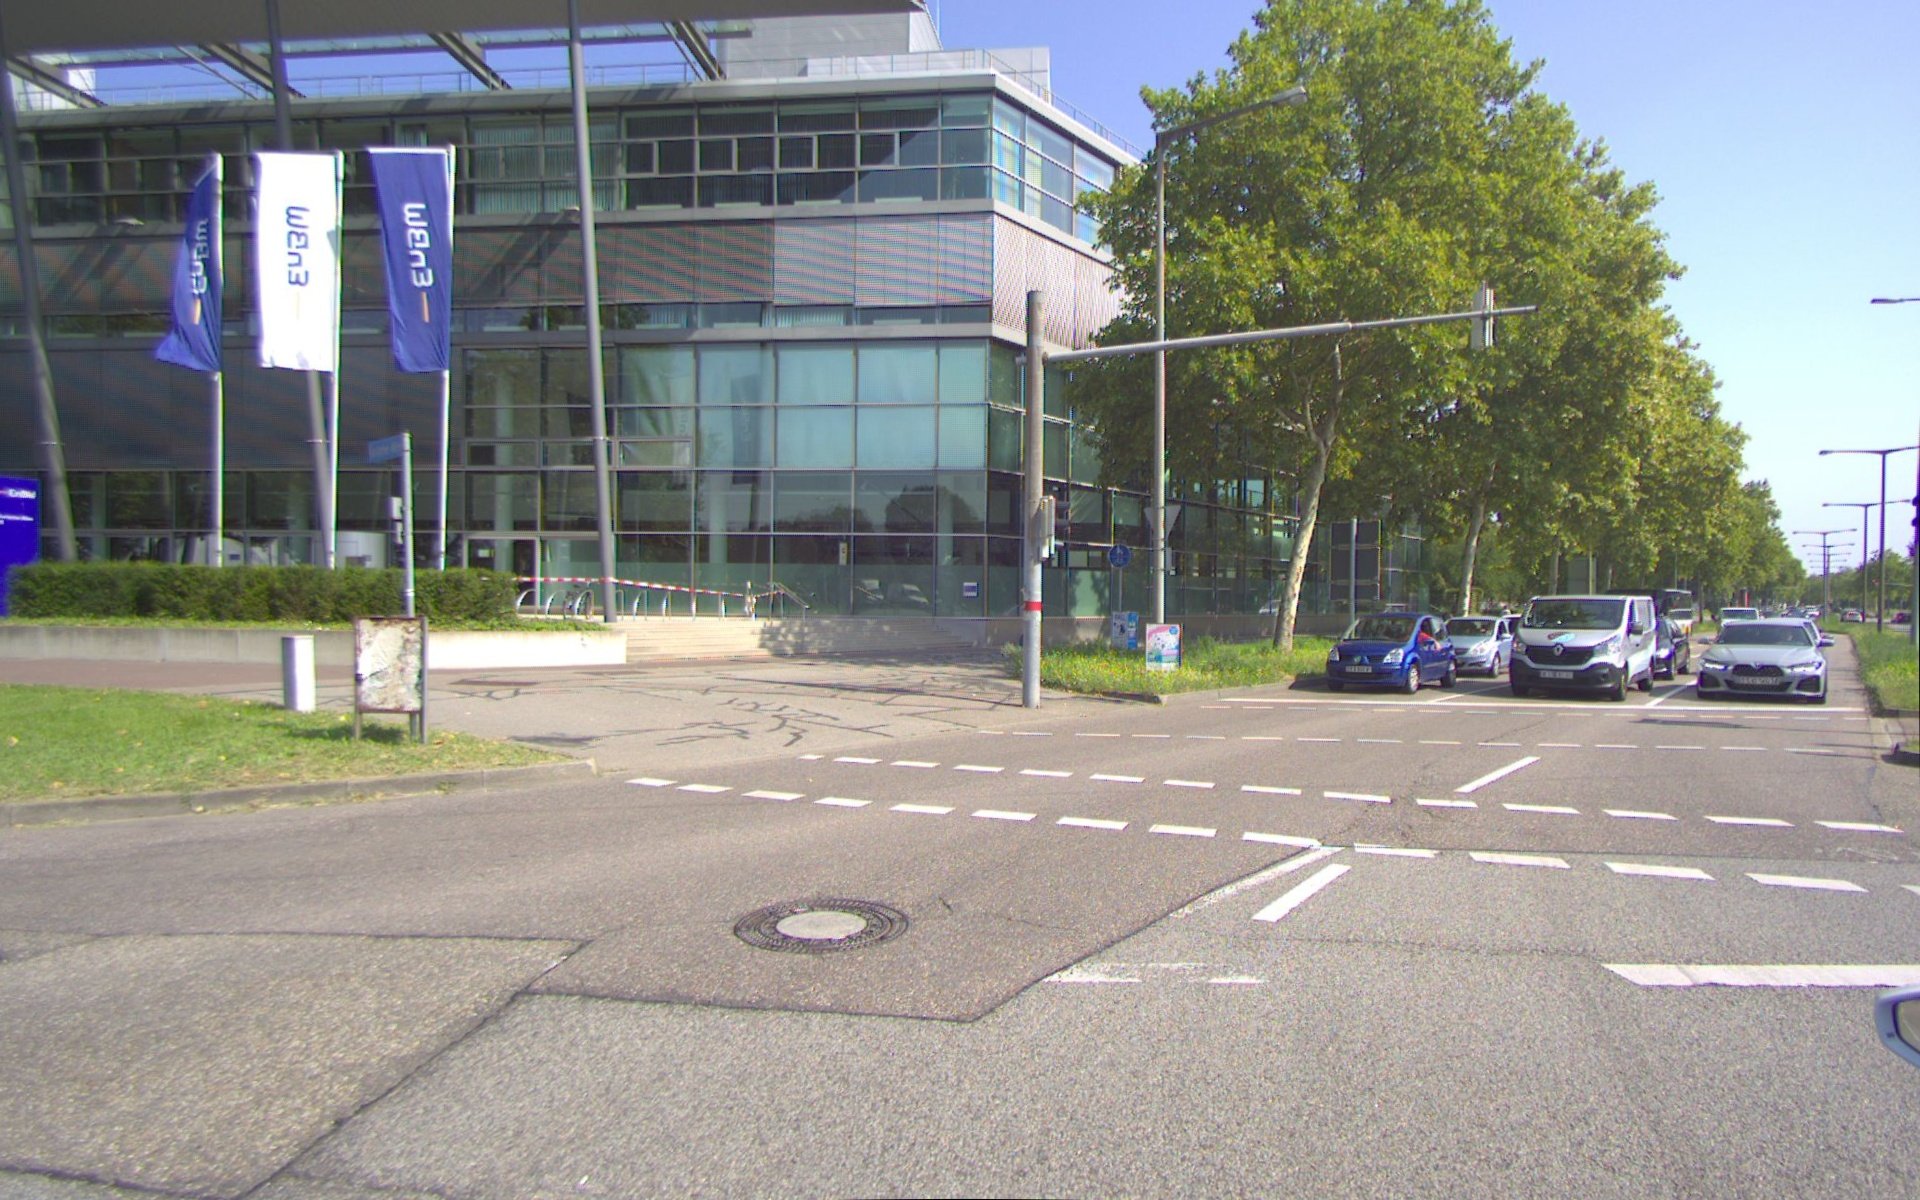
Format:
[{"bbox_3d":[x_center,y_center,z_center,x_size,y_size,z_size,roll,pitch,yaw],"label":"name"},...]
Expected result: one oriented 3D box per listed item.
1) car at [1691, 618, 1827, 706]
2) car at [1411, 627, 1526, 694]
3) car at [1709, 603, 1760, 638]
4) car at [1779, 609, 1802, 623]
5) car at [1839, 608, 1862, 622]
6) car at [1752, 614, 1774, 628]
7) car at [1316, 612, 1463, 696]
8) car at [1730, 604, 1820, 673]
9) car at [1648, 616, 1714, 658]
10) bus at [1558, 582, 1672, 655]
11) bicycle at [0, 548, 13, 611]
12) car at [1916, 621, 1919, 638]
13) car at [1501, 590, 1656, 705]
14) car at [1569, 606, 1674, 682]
[{"bbox_3d":[15.233,1.080,19.087,1.814,1.462,4.583,-2,-2,40],"label":"car"},{"bbox_3d":[12.866,1.466,25.319,1.649,1.555,3.710,-2,-2,42],"label":"car"},{"bbox_3d":[46.478,1.227,60.372,1.900,1.986,5.176,-1,-1,32],"label":"car"},{"bbox_3d":[93.847,1.857,113.442,1.825,1.509,4.619,-2,-2,42],"label":"car"},{"bbox_3d":[120.038,2.032,135.424,3.972,1.724,1.974,1,-1,-43],"label":"car"},{"bbox_3d":[100.542,2.665,125.864,1.821,1.626,4.596,1,-1,35],"label":"car"},{"bbox_3d":[8.869,1.071,20.615,1.649,1.555,3.710,-2,-2,42],"label":"car"},{"bbox_3d":[20.231,0.985,24.914,1.595,1.555,4.082,-2,-4,40],"label":"car"},{"bbox_3d":[28.048,1.410,39.021,1.649,1.555,3.710,-2,-2,42],"label":"car"},{"bbox_3d":[28.036,0.823,42.705,2.631,2.730,10.851,-1,-2,41],"label":"bus"},{"bbox_3d":[-31.416,-0.624,31.612,0.676,2.041,2.419,1,3,7],"label":"bicycle"},{"bbox_3d":[93.596,2.842,96.782,1.971,1.676,3.980,0,-1,41],"label":"car"},{"bbox_3d":[12.427,0.813,20.009,1.904,1.984,5.187,1,1,40],"label":"car"},{"bbox_3d":[17.998,1.149,27.224,1.698,1.873,4.678,-1,-2,42],"label":"car"}]
